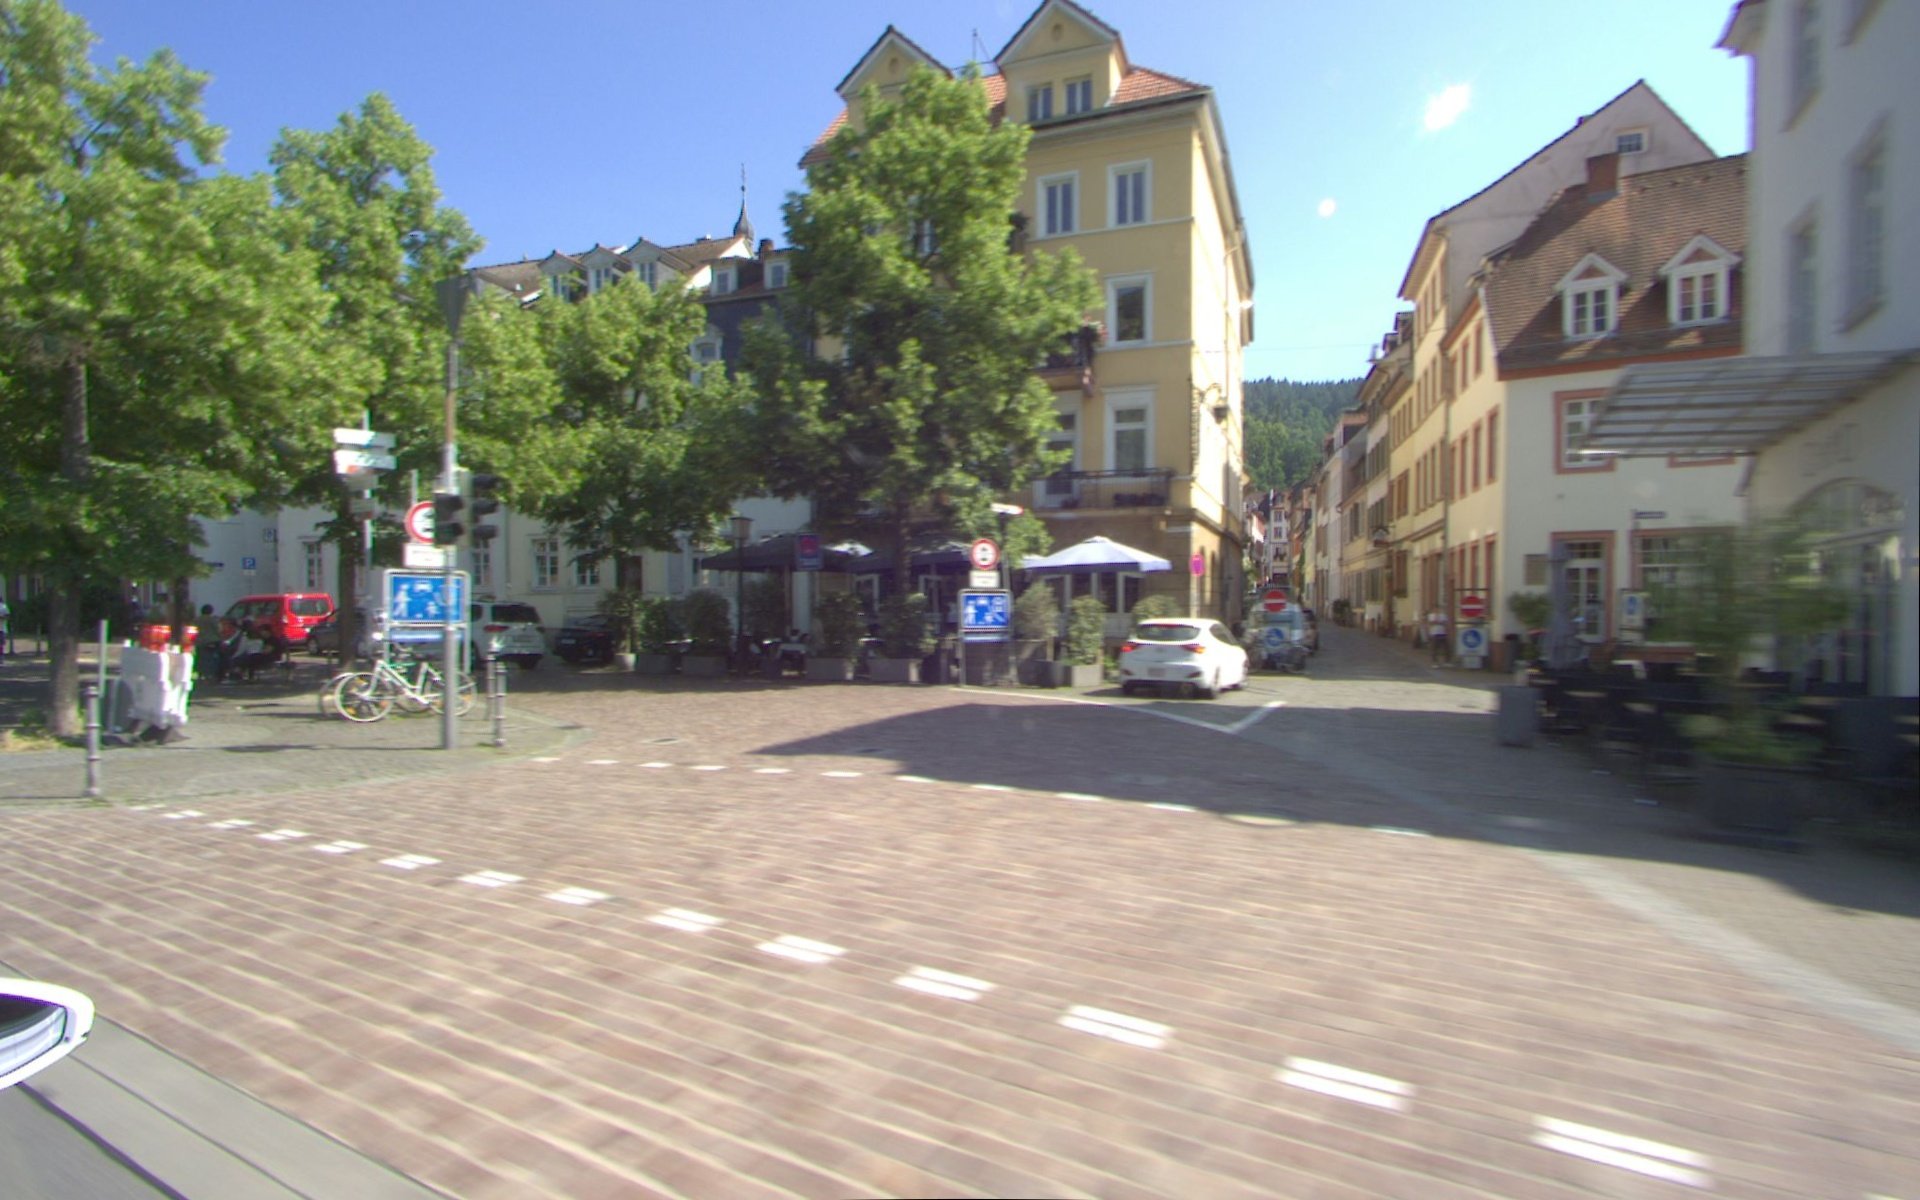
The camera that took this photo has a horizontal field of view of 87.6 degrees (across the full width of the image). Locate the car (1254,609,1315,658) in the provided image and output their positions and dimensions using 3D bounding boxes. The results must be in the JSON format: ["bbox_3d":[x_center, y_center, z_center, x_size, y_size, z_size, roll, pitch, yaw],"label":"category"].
[{"bbox_3d":[11.312,1.118,34.923,1.818,1.388,3.827,5,2,18],"label":"car"}]

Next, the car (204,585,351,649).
[{"bbox_3d":[-22.137,0.510,32.462,4.560,1.927,1.992,0,0,27],"label":"car"}]

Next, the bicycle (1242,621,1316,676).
[{"bbox_3d":[8.114,1.219,25.496,1.734,1.297,0.657,1,2,19],"label":"bicycle"}]

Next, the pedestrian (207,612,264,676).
[{"bbox_3d":[-14.896,0.904,20.601,0.741,1.297,0.626,0,-1,22],"label":"pedestrian"}]

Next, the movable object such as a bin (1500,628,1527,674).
[{"bbox_3d":[14.043,1.291,25.407,0.589,1.121,0.667,0,1,30],"label":"movable object such as a bin"}]

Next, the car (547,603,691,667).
[{"bbox_3d":[-9.347,0.915,27.697,1.595,1.452,3.737,3,3,27],"label":"car"}]

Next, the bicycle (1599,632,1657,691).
[{"bbox_3d":[14.849,1.340,22.304,0.628,1.208,1.876,1,0,20],"label":"bicycle"}]

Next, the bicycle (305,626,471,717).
[{"bbox_3d":[-8.189,0.994,14.428,0.515,1.214,2.003,1,-1,41],"label":"bicycle"}]

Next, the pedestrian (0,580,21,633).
[{"bbox_3d":[-37.414,0.258,39.296,0.634,2.041,0.634,1,1,29],"label":"pedestrian"}]

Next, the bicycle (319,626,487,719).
[{"bbox_3d":[-7.802,0.998,14.107,0.515,1.213,1.990,1,-2,41],"label":"bicycle"}]

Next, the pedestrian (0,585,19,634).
[{"bbox_3d":[-36.842,0.349,38.646,0.587,1.865,0.585,1,1,29],"label":"pedestrian"}]

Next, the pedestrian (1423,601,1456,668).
[{"bbox_3d":[13.275,0.936,27.720,0.751,1.823,0.694,0,2,21],"label":"pedestrian"}]

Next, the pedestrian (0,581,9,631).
[{"bbox_3d":[-39.275,0.250,40.807,0.587,2.041,0.585,0,1,29],"label":"pedestrian"}]

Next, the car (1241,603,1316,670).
[{"bbox_3d":[9.248,0.980,29.035,1.818,1.618,3.992,5,2,18],"label":"car"}]

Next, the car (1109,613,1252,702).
[{"bbox_3d":[4.392,1.044,19.461,1.803,1.474,3.987,2,0,26],"label":"car"}]

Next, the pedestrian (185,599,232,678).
[{"bbox_3d":[-14.886,0.758,19.837,0.678,1.537,0.459,0,0,22],"label":"pedestrian"}]

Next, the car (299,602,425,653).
[{"bbox_3d":[-17.998,0.793,30.129,3.416,1.451,1.673,0,0,27],"label":"car"}]

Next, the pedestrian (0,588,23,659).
[{"bbox_3d":[-22.897,0.544,23.804,0.696,1.675,0.706,0,1,29],"label":"pedestrian"}]

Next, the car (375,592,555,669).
[{"bbox_3d":[-12.307,0.700,24.836,4.497,1.751,1.767,0,0,29],"label":"car"}]

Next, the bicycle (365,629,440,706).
[{"bbox_3d":[-8.754,1.024,15.690,0.589,1.081,2.047,-1,1,-41],"label":"bicycle"}]

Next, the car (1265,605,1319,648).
[{"bbox_3d":[12.928,1.006,39.070,1.818,1.388,3.827,5,2,18],"label":"car"}]

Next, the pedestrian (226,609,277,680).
[{"bbox_3d":[-14.297,0.892,20.211,0.532,1.400,0.626,0,-1,21],"label":"pedestrian"}]

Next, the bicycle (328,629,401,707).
[{"bbox_3d":[-9.189,1.008,15.405,0.589,1.081,2.047,-1,1,-41],"label":"bicycle"}]

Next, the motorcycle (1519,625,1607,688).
[{"bbox_3d":[13.782,1.253,22.869,2.295,1.300,0.760,-2,1,-32],"label":"motorcycle"}]

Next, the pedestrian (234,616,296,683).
[{"bbox_3d":[-13.658,0.959,19.674,0.751,1.269,0.694,0,1,21],"label":"pedestrian"}]
